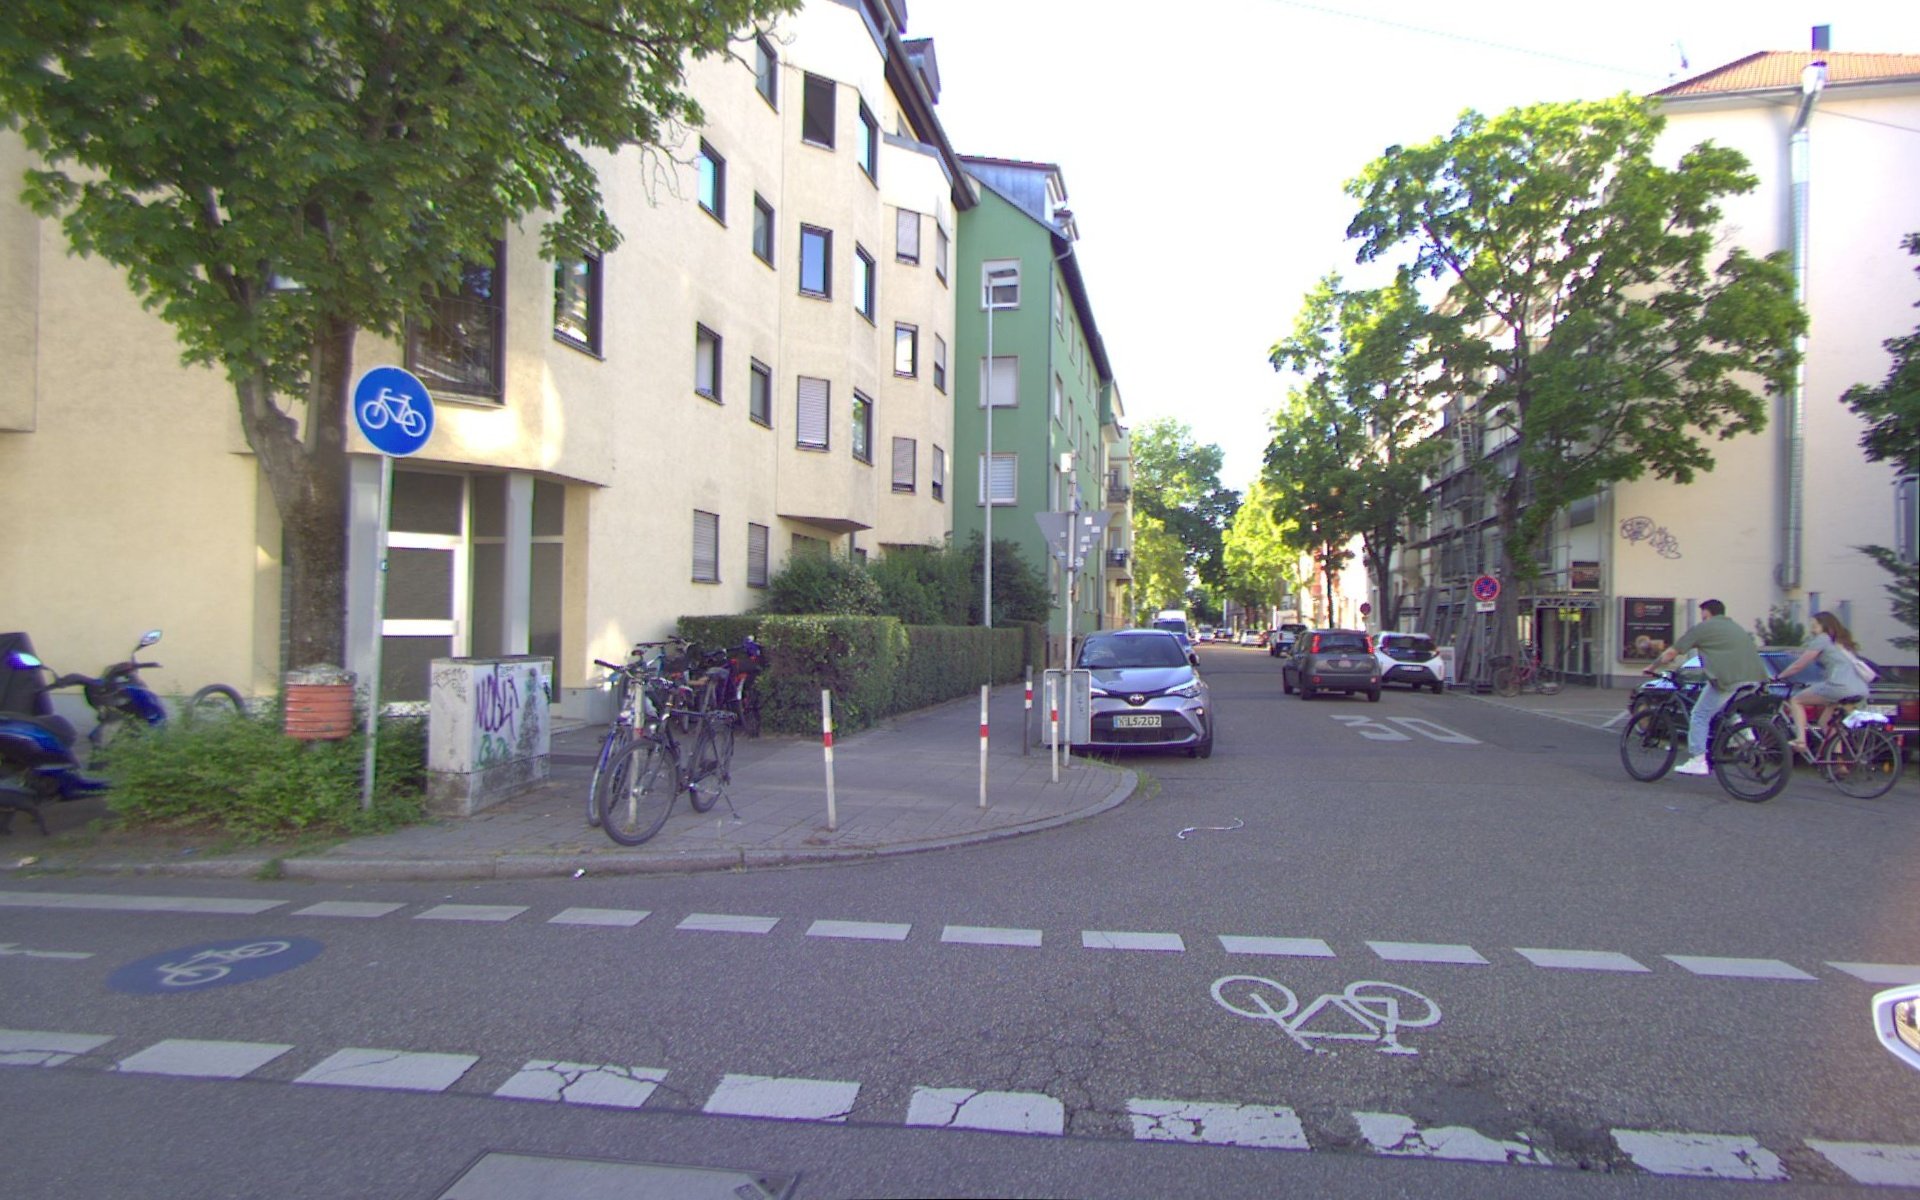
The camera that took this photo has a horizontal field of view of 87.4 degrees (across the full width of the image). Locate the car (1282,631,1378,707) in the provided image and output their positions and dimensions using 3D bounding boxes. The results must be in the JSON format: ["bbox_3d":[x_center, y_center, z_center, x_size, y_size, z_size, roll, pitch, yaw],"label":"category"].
[{"bbox_3d":[8.107,1.470,22.265,1.530,1.553,3.489,0,-2,12],"label":"car"}]

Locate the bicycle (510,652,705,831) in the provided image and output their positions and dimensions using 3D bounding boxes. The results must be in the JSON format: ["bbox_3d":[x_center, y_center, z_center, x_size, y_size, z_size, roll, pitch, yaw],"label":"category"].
[{"bbox_3d":[-2.528,0.965,7.439,0.583,1.099,1.813,1,-1,8],"label":"bicycle"}]

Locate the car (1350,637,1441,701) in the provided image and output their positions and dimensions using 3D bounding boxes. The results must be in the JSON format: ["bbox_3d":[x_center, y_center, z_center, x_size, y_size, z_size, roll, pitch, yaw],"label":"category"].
[{"bbox_3d":[11.590,1.793,26.928,1.646,1.565,3.406,0,-2,13],"label":"car"}]

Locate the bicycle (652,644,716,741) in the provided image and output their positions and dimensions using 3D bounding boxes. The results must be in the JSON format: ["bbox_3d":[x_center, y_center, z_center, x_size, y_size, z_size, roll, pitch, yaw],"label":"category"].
[{"bbox_3d":[-3.379,1.108,12.379,0.325,1.060,1.394,1,0,4],"label":"bicycle"}]

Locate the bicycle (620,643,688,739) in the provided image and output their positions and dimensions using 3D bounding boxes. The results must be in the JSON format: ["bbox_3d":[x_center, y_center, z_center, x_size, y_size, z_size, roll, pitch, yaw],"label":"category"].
[{"bbox_3d":[-3.747,1.090,12.388,0.325,1.060,1.394,1,0,4],"label":"bicycle"}]

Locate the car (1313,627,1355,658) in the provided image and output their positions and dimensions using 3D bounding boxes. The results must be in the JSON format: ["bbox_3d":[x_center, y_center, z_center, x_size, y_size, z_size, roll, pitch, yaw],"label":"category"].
[{"bbox_3d":[18.929,2.128,50.933,1.530,1.428,3.382,3,0,14],"label":"car"}]

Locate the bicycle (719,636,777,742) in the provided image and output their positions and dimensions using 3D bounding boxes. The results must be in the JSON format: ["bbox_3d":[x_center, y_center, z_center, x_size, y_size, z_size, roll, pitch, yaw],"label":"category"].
[{"bbox_3d":[-2.581,1.054,12.316,0.325,1.159,1.394,1,0,4],"label":"bicycle"}]

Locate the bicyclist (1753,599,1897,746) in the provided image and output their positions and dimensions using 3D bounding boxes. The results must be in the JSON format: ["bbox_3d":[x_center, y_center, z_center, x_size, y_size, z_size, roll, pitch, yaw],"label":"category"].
[{"bbox_3d":[8.674,0.738,10.109,0.613,1.398,0.868,2,-5,-4],"label":"bicyclist"}]

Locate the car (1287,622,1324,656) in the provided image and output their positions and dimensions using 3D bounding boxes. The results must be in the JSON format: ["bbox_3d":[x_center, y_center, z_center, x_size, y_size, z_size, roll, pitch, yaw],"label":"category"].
[{"bbox_3d":[19.102,2.135,55.639,1.530,1.750,3.382,3,0,14],"label":"car"}]

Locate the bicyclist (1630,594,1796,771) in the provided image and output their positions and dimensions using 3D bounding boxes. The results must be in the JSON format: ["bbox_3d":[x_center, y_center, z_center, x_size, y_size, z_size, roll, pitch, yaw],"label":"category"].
[{"bbox_3d":[7.108,0.780,9.533,0.868,1.581,0.867,2,-4,-8],"label":"bicyclist"}]

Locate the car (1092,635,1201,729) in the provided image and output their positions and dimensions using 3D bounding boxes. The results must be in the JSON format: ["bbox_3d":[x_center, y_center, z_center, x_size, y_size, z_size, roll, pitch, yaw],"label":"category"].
[{"bbox_3d":[3.447,1.422,18.509,1.722,1.517,4.138,-1,-2,11],"label":"car"}]

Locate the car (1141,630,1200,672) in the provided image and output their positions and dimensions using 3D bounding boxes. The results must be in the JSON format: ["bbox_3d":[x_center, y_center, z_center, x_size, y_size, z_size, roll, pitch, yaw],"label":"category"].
[{"bbox_3d":[7.712,1.850,37.175,1.945,1.475,4.117,-1,-2,9],"label":"car"}]

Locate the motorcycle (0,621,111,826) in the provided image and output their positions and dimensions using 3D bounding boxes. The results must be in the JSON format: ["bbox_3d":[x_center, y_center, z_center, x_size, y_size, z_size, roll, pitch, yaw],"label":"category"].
[{"bbox_3d":[-7.322,0.886,7.174,0.820,1.466,1.975,1,-1,-1],"label":"motorcycle"}]

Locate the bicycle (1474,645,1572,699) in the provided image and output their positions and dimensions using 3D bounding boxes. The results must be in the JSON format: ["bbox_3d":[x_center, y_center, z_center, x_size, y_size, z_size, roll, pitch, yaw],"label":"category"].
[{"bbox_3d":[13.456,1.703,24.048,1.949,1.181,0.726,-2,-1,-5],"label":"bicycle"}]

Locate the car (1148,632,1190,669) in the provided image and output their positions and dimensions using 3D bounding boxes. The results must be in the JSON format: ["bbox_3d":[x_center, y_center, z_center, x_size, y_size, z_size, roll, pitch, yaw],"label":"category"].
[{"bbox_3d":[8.800,2.108,42.504,1.658,1.473,3.713,0,-2,11],"label":"car"}]

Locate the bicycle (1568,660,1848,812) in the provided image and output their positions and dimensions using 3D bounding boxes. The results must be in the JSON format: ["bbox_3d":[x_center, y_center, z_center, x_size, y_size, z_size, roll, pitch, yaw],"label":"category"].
[{"bbox_3d":[7.091,1.224,9.721,0.826,1.164,2.229,0,0,-9],"label":"bicycle"}]

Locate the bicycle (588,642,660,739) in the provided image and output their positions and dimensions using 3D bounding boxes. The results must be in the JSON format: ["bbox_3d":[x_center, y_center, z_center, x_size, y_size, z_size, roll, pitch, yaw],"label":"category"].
[{"bbox_3d":[-4.125,1.082,12.399,0.325,1.060,1.394,1,0,4],"label":"bicycle"}]

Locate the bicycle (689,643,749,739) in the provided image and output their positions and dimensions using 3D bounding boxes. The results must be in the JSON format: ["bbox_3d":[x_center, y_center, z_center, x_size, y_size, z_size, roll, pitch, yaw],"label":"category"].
[{"bbox_3d":[-2.989,1.104,12.549,0.325,1.060,1.394,1,0,4],"label":"bicycle"}]

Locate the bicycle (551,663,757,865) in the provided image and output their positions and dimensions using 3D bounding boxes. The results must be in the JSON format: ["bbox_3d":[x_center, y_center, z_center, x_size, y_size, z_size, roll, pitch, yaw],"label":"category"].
[{"bbox_3d":[-1.985,1.014,6.824,0.583,1.099,1.884,1,-1,8],"label":"bicycle"}]

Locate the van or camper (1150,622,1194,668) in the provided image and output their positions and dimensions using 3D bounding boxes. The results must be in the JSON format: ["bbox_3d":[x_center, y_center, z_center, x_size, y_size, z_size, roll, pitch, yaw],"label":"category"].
[{"bbox_3d":[10.161,2.095,47.929,1.959,2.040,4.915,0,-2,13],"label":"van or camper"}]

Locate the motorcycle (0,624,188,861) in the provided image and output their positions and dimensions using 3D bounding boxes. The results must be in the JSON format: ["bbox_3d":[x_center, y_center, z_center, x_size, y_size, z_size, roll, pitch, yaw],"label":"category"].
[{"bbox_3d":[-6.313,0.898,6.751,0.706,1.466,1.975,1,-1,-1],"label":"motorcycle"}]

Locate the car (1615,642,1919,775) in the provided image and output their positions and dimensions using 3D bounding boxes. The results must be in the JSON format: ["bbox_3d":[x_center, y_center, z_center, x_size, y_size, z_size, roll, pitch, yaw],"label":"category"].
[{"bbox_3d":[10.702,1.311,13.572,1.679,1.406,4.573,1,-2,14],"label":"car"}]

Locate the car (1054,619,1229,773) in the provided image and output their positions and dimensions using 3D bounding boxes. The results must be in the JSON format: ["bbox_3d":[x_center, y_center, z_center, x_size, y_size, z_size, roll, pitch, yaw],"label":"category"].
[{"bbox_3d":[2.318,1.139,13.140,1.871,1.681,4.003,-1,-2,9],"label":"car"}]

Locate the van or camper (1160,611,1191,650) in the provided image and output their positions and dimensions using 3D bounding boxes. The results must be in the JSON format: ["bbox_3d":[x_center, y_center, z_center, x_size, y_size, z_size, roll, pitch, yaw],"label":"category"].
[{"bbox_3d":[14.834,2.100,69.276,1.959,2.587,5.026,1,-1,11],"label":"van or camper"}]

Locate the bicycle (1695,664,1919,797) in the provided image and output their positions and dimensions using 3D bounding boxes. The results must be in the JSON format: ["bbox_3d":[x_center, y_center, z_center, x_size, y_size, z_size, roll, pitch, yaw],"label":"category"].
[{"bbox_3d":[8.617,1.291,10.015,0.826,1.163,2.233,4,-6,-4],"label":"bicycle"}]
